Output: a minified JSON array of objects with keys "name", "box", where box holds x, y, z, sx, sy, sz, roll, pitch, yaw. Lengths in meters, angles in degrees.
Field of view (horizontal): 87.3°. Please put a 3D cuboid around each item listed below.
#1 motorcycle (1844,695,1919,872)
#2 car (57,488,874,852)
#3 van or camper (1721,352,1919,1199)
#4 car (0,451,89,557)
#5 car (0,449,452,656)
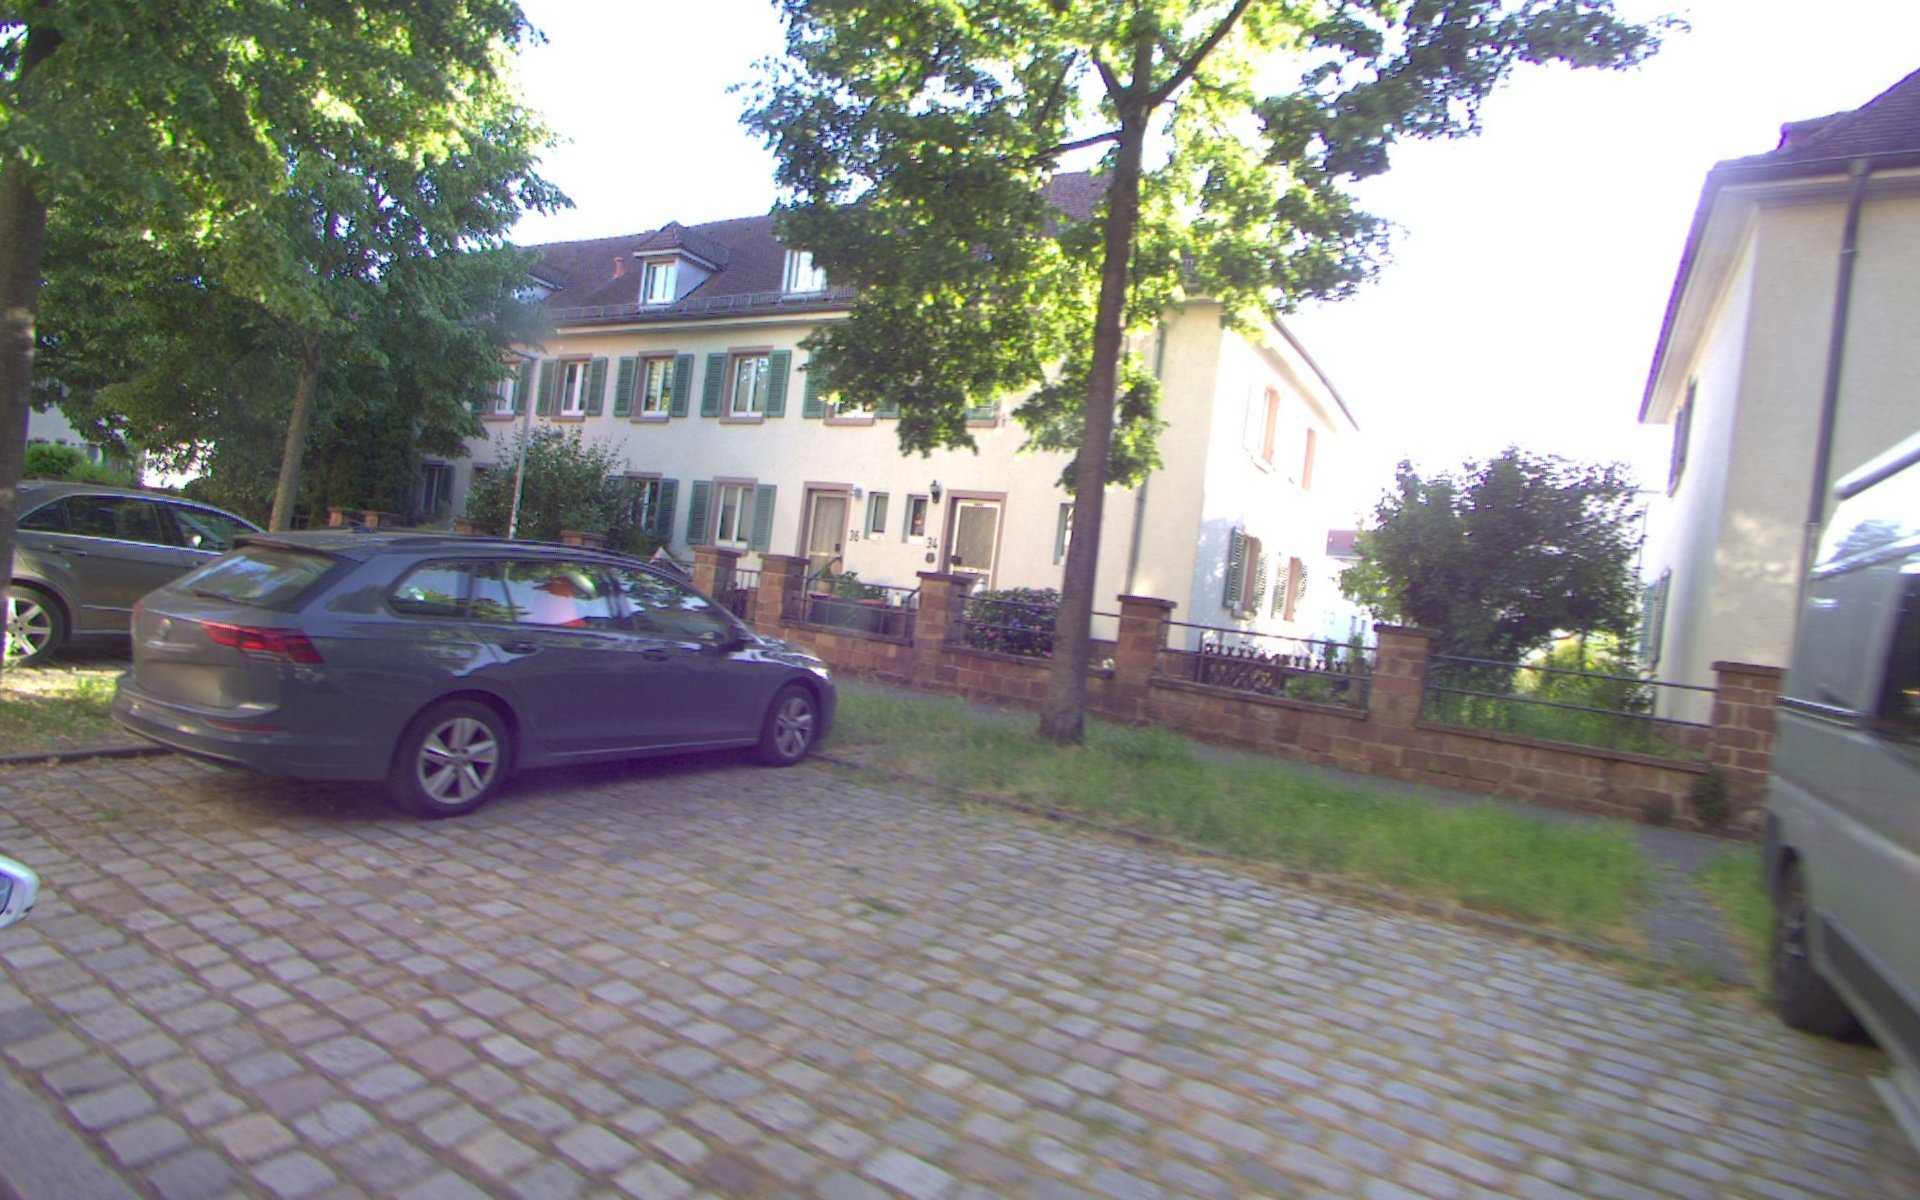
[{"name":"motorcycle","box":[8.747,1.640,8.293,1.983,1.423,0.660,6,-1,32]},{"name":"car","box":[-2.672,0.296,6.584,1.797,1.455,4.476,7,3,31]},{"name":"van or camper","box":[3.818,0.527,2.561,2.126,2.551,5.720,7,3,31]},{"name":"car","box":[-16.942,-1.700,15.858,1.844,1.655,4.476,7,3,30]},{"name":"car","box":[-7.449,-0.428,9.069,1.862,1.560,4.839,7,3,30]}]
